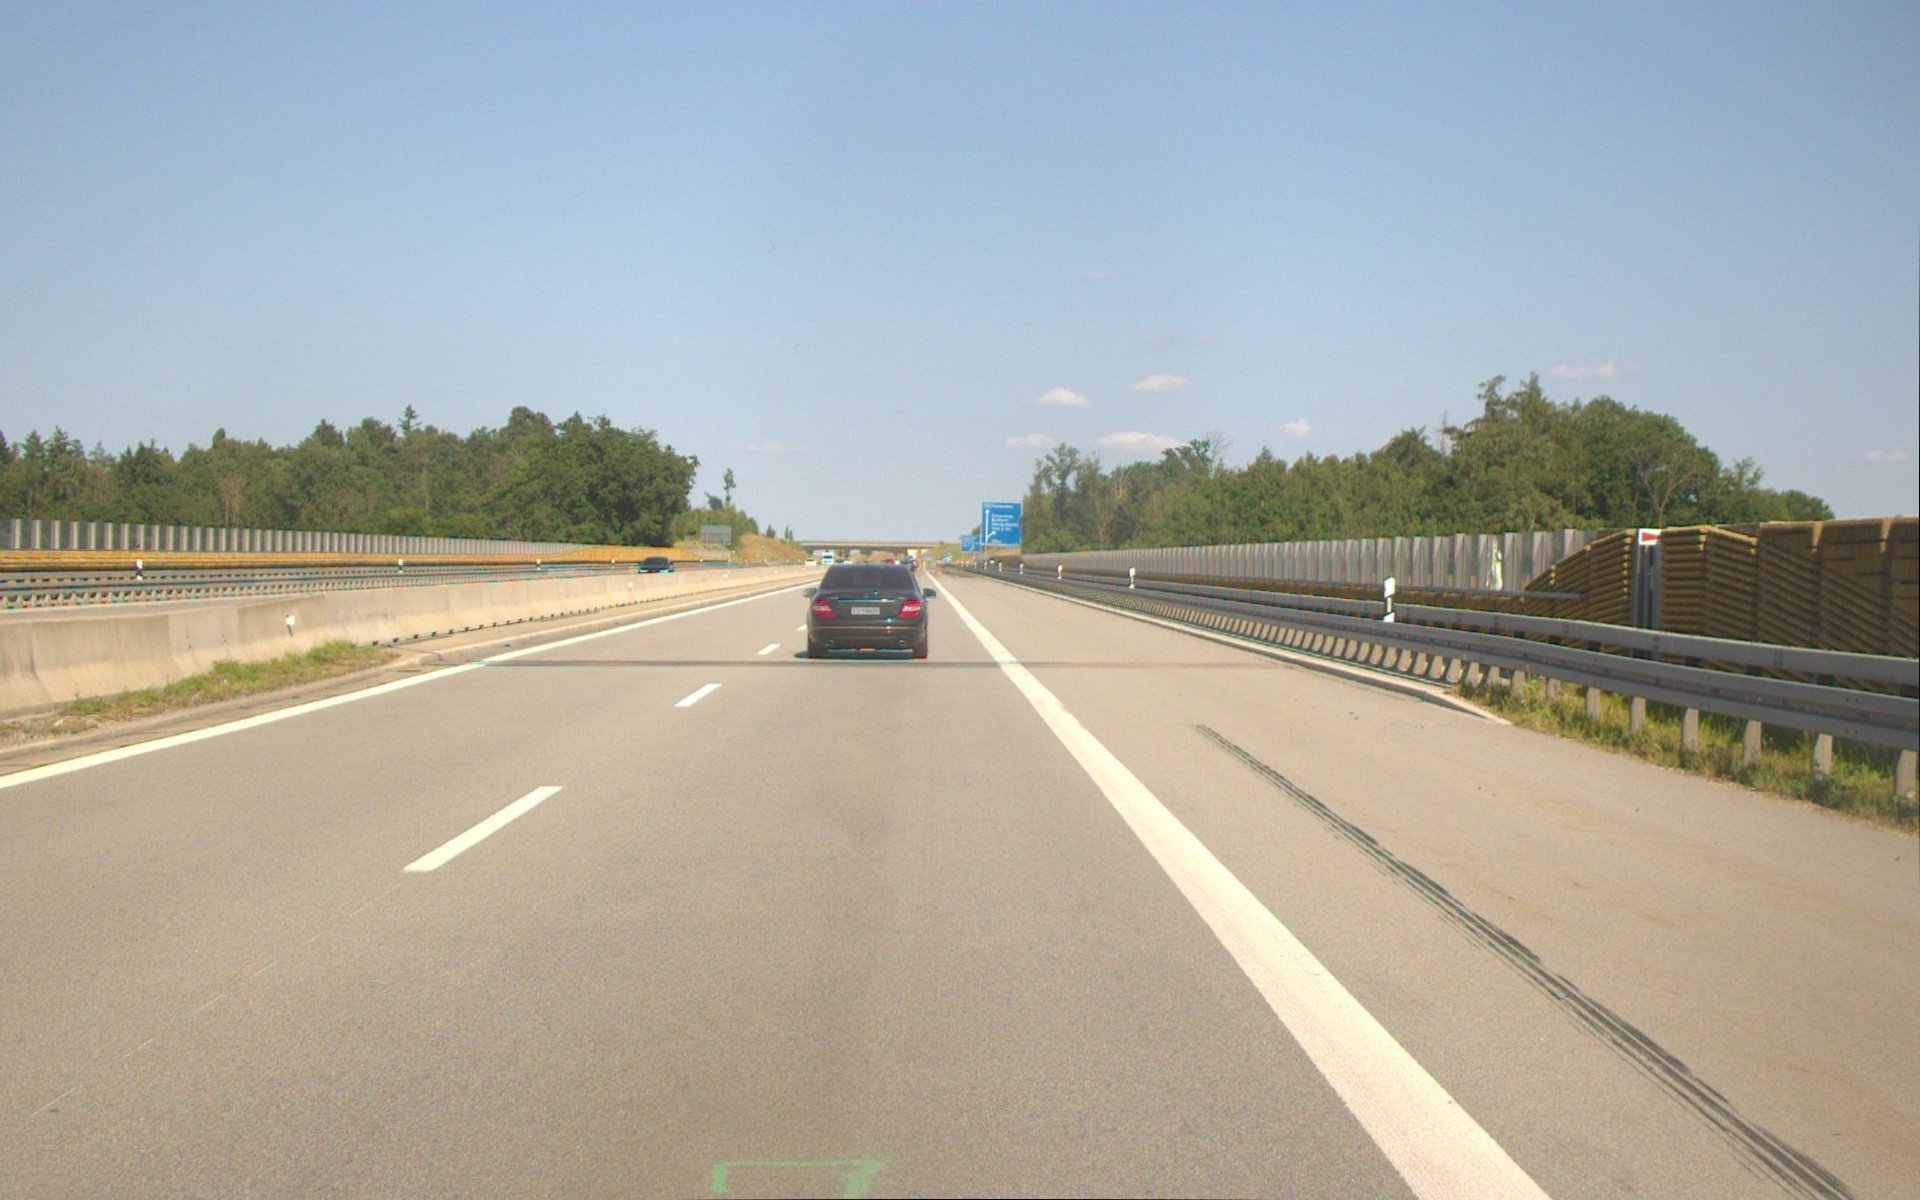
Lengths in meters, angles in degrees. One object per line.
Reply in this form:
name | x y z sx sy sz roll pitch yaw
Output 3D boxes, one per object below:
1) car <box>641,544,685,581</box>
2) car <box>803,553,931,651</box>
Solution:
car | -16.664 -2.096 192.746 1.993 2.007 4.761 1 1 1
car | -1.338 -0.004 50.896 1.790 1.369 3.917 1 1 0
